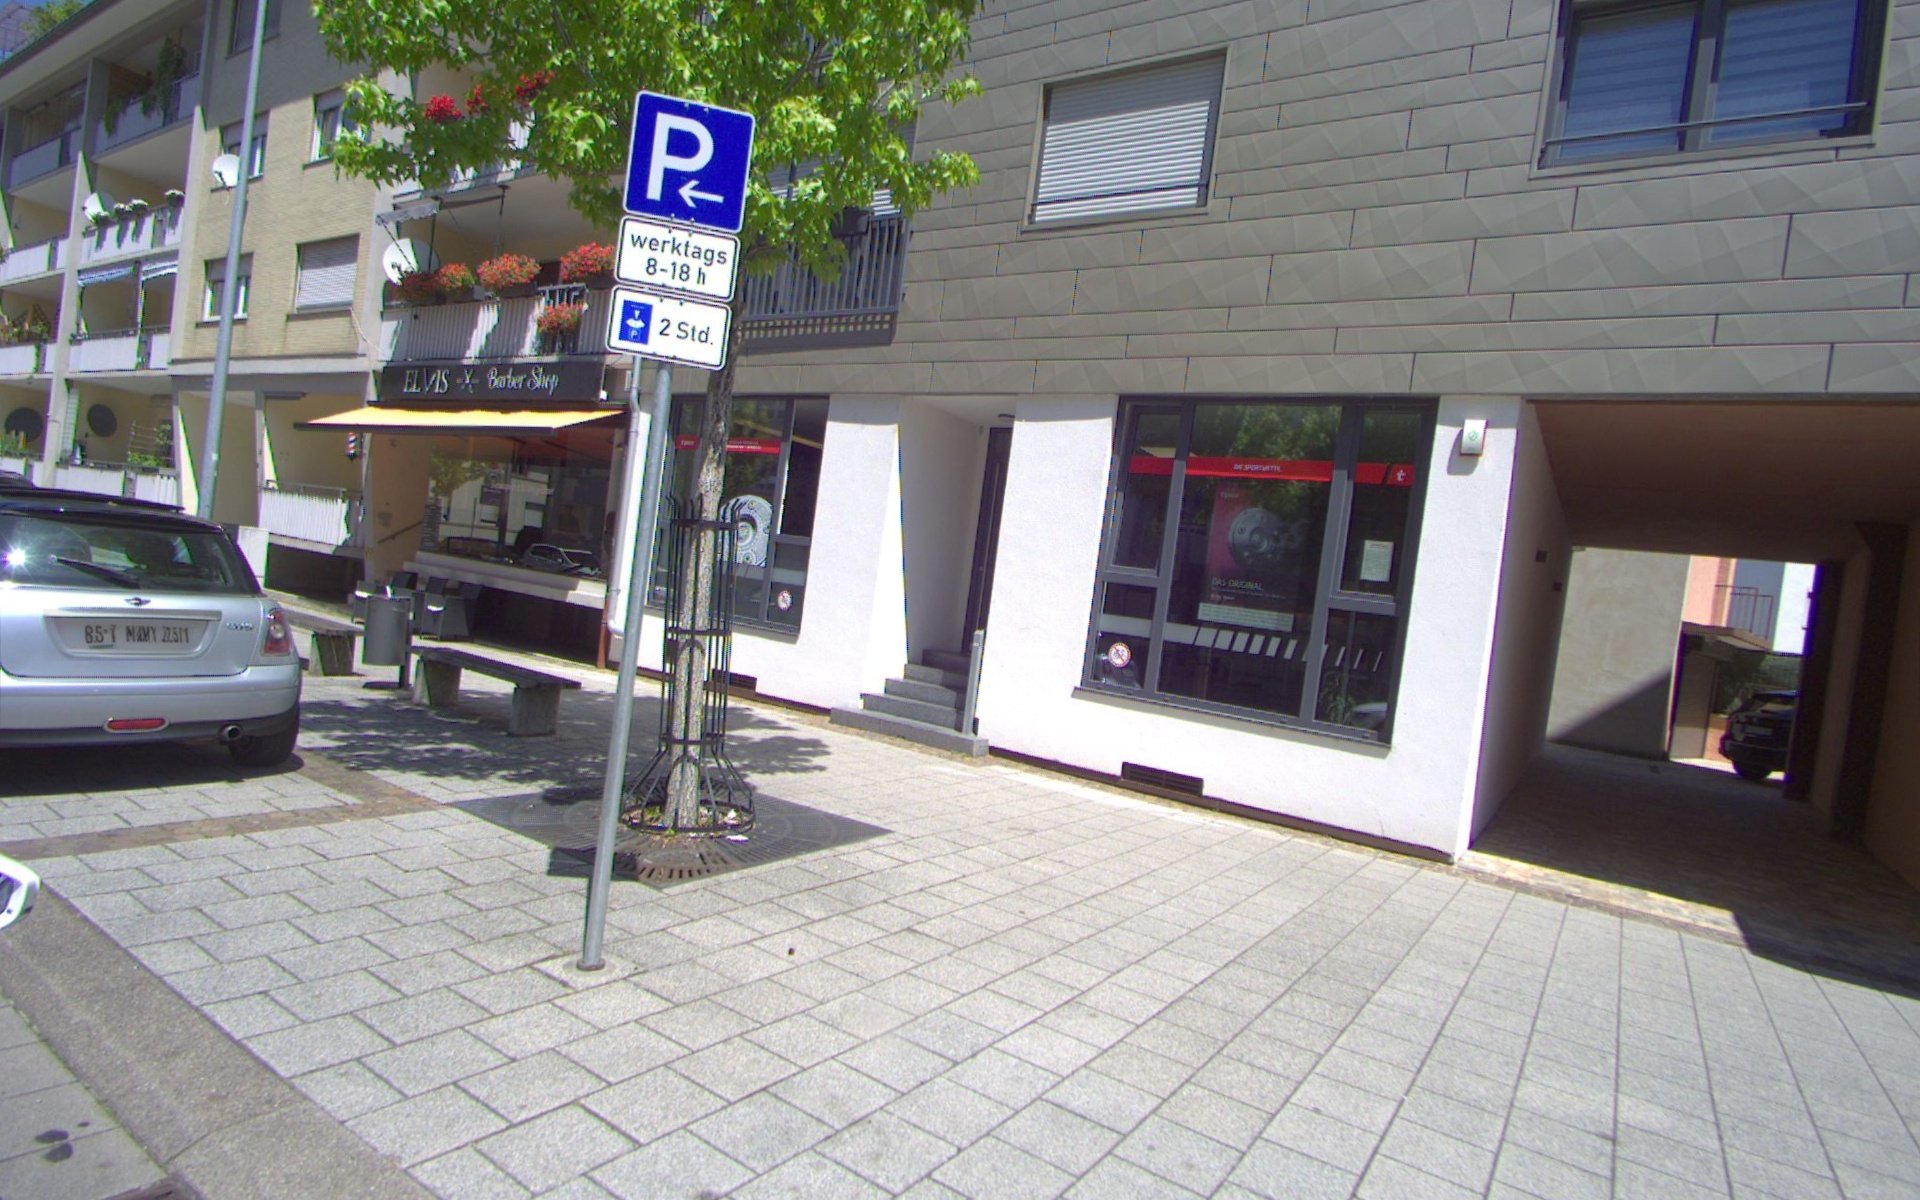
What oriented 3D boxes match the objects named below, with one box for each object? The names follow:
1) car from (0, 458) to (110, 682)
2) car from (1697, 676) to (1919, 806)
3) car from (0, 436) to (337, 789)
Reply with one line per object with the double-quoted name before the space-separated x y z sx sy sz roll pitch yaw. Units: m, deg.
"car" -9.430 -0.484 8.836 4.630 1.727 1.764 7 1 34
"car" 14.505 2.319 16.135 3.925 1.574 1.683 7 1 2
"car" -5.547 -0.092 5.986 3.779 1.578 1.623 7 1 34
